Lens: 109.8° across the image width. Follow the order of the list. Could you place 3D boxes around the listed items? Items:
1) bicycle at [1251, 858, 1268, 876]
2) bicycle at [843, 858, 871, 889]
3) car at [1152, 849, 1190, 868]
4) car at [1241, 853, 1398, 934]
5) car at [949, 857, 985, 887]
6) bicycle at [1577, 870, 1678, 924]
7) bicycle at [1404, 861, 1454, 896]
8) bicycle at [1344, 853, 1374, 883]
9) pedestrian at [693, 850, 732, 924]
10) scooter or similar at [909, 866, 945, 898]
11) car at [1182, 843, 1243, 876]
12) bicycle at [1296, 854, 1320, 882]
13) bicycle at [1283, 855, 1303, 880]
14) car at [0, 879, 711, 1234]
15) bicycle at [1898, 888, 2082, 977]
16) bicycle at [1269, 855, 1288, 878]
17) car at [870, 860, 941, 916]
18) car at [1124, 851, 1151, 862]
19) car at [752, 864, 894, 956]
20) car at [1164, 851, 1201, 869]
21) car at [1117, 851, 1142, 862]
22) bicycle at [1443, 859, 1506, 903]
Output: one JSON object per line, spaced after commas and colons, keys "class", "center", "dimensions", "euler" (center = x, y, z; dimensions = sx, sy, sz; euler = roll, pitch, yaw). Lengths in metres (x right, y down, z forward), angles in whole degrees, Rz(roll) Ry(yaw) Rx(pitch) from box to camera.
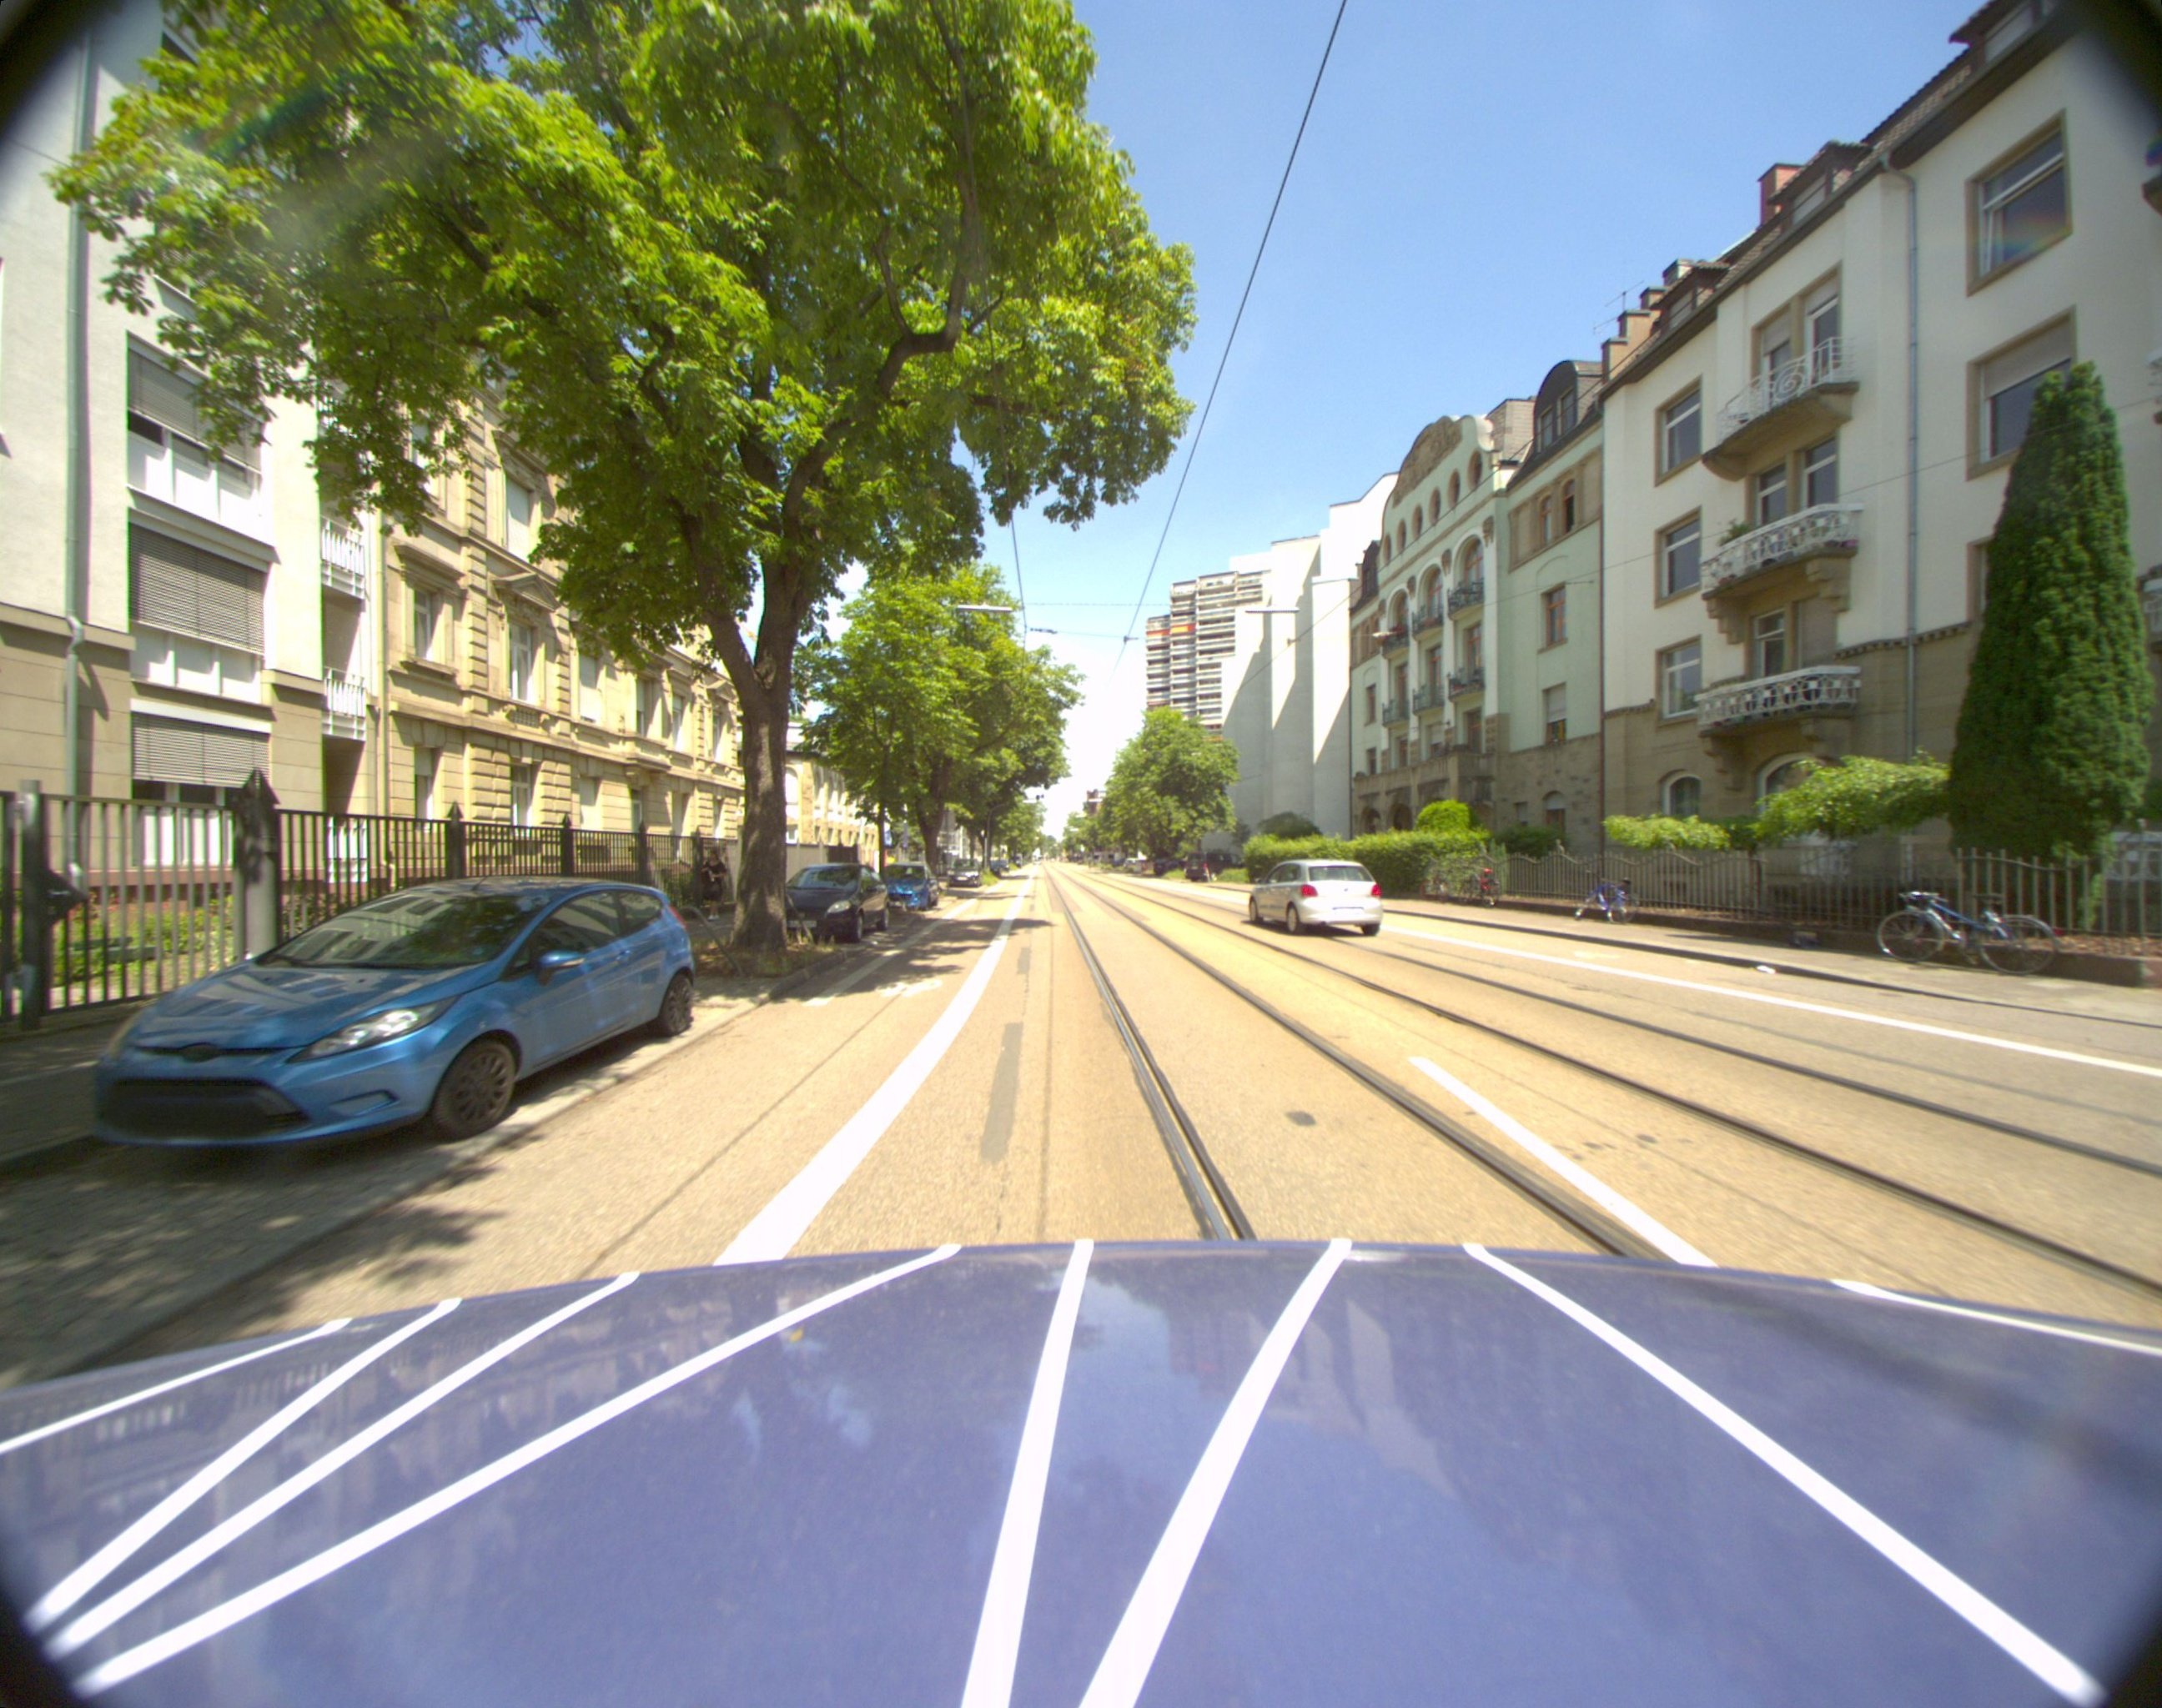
{"class": "bicycle", "center": [9.431, 0.679, 40.188], "dimensions": [0.340, 0.935, 1.727], "euler": [-3, 1, -4]}
{"class": "bicycle", "center": [-9.589, 0.806, 32.582], "dimensions": [0.689, 1.217, 2.118], "euler": [-2, 1, -4]}
{"class": "car", "center": [7.850, 0.376, 66.047], "dimensions": [1.636, 1.540, 3.815], "euler": [-1, 1, 36]}
{"class": "car", "center": [4.709, 0.711, 15.588], "dimensions": [1.713, 1.404, 3.823], "euler": [1, 1, -5]}
{"class": "car", "center": [-6.368, 0.965, 42.821], "dimensions": [1.648, 1.587, 4.114], "euler": [1, 0, -4]}
{"class": "bicycle", "center": [10.663, 0.808, 14.901], "dimensions": [0.463, 0.943, 1.953], "euler": [-2, 0, -4]}
{"class": "bicycle", "center": [10.340, 0.715, 22.643], "dimensions": [0.400, 0.965, 2.046], "euler": [-2, 0, -4]}
{"class": "bicycle", "center": [10.189, 0.506, 27.872], "dimensions": [0.290, 1.040, 1.899], "euler": [-2, 1, -4]}
{"class": "pedestrian", "center": [-8.536, 0.747, 17.611], "dimensions": [0.547, 1.683, 0.755], "euler": [0, 1, -4]}
{"class": "scooter or similar", "center": [-6.260, 1.119, 30.855], "dimensions": [1.379, 1.225, 0.375], "euler": [-2, 2, -17]}
{"class": "car", "center": [8.592, 0.312, 49.369], "dimensions": [3.915, 1.958, 1.908], "euler": [-3, 2, -43]}
{"class": "bicycle", "center": [9.787, 0.577, 32.805], "dimensions": [0.340, 1.157, 1.932], "euler": [-2, 1, -4]}
{"class": "bicycle", "center": [9.717, 0.605, 34.831], "dimensions": [0.340, 1.062, 1.727], "euler": [-2, 1, -4]}
{"class": "car", "center": [-4.441, 1.014, 5.534], "dimensions": [1.688, 1.453, 3.998], "euler": [1, 1, -3]}
{"class": "bicycle", "center": [11.087, 0.917, 9.347], "dimensions": [0.253, 0.911, 1.614], "euler": [-2, 0, -4]}
{"class": "bicycle", "center": [9.587, 0.608, 36.861], "dimensions": [0.340, 1.062, 1.727], "euler": [-2, 1, -4]}
{"class": "car", "center": [-5.388, 1.008, 23.746], "dimensions": [1.615, 1.488, 3.580], "euler": [1, 1, -4]}
{"class": "car", "center": [6.901, 0.276, 92.713], "dimensions": [1.491, 1.259, 3.490], "euler": [0, 1, 43]}
{"class": "car", "center": [-4.996, 1.006, 15.254], "dimensions": [1.682, 1.488, 3.917], "euler": [1, 1, -3]}
{"class": "car", "center": [8.451, 0.498, 63.075], "dimensions": [1.488, 1.391, 3.287], "euler": [0, 2, 40]}
{"class": "car", "center": [6.161, 0.299, 96.571], "dimensions": [1.361, 1.293, 3.316], "euler": [0, 1, 43]}
{"class": "bicycle", "center": [10.481, 0.688, 20.336], "dimensions": [0.493, 1.090, 2.046], "euler": [-2, 0, -4]}
